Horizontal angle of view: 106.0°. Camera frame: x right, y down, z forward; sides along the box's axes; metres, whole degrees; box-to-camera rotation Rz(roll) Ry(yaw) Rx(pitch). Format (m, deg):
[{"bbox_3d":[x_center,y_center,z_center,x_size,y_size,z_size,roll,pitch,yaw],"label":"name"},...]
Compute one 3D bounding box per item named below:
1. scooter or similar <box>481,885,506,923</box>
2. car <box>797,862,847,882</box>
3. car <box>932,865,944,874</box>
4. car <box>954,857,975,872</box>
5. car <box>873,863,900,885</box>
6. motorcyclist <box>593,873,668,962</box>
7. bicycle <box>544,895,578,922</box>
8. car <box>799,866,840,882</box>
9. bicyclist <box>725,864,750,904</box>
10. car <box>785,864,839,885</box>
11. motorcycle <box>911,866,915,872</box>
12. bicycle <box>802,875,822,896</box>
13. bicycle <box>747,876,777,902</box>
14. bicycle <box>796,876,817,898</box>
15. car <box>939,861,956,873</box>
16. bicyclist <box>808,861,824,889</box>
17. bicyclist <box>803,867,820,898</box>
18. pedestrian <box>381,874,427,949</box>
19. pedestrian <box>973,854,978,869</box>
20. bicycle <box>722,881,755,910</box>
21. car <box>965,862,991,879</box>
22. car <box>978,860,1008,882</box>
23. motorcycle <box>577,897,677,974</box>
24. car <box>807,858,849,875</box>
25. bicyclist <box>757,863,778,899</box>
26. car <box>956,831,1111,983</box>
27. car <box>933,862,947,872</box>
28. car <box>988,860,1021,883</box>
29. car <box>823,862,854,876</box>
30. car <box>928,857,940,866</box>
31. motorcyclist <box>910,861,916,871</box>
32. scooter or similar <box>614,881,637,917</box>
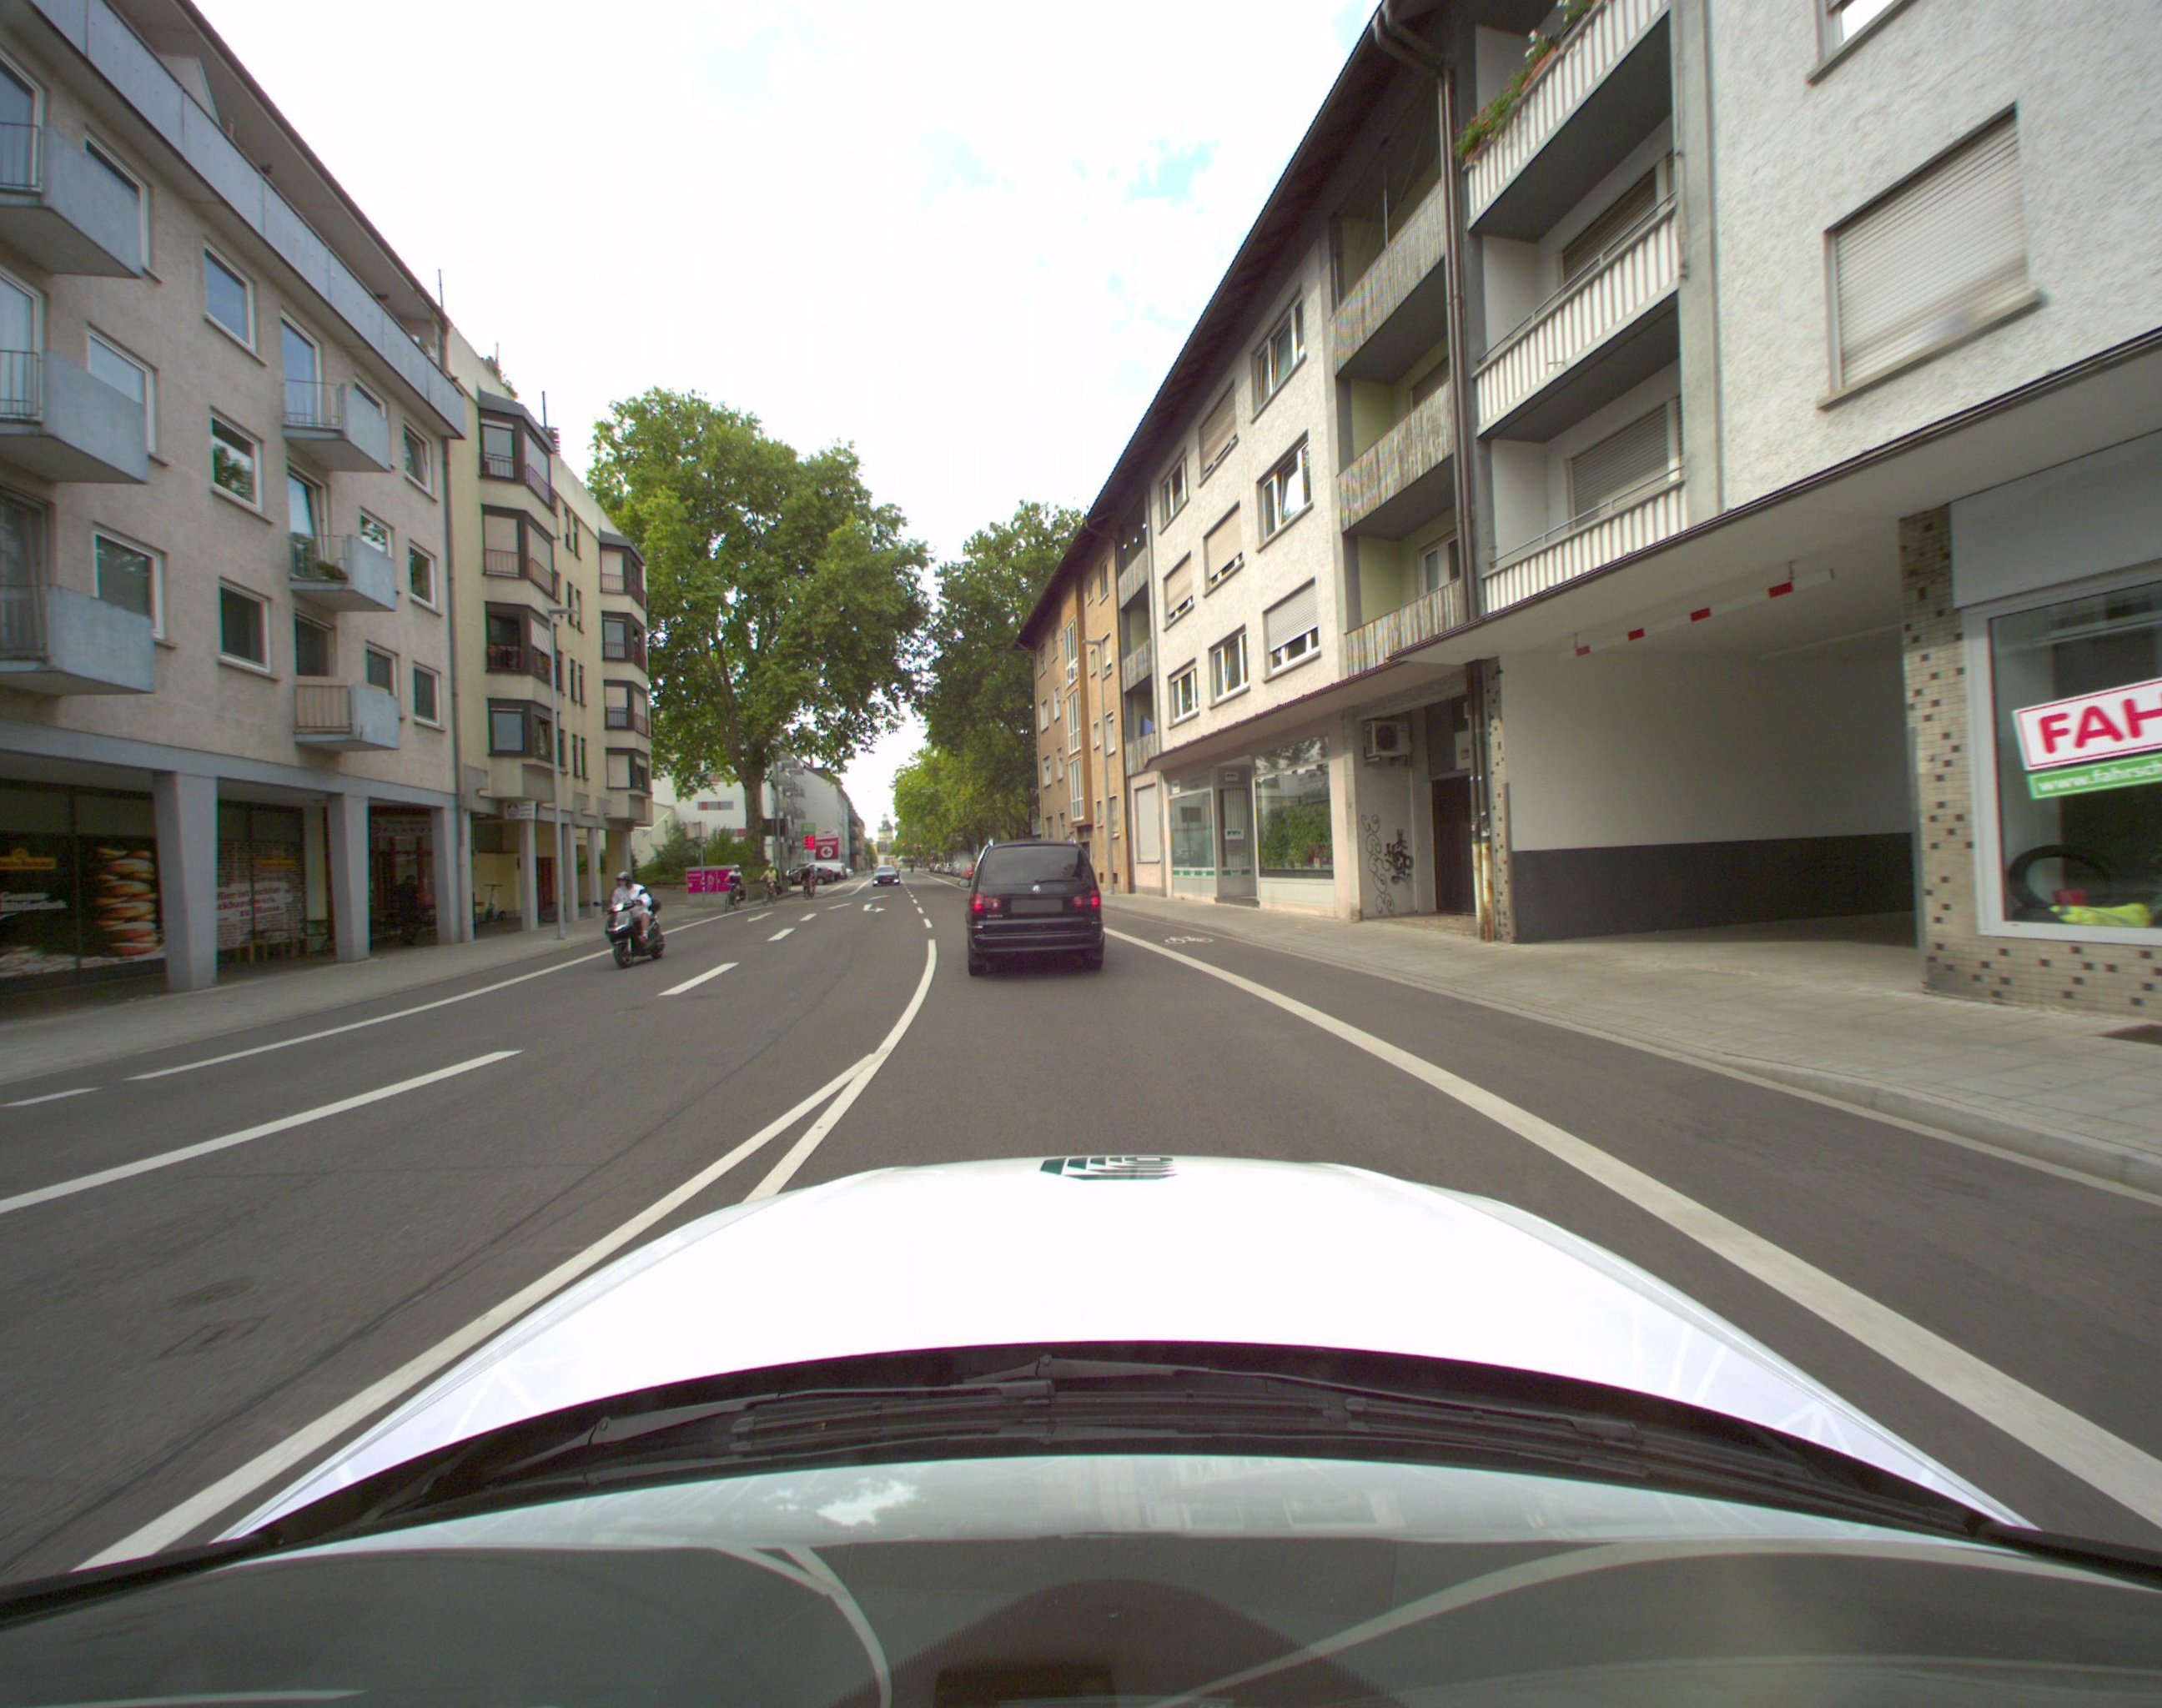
[{"bbox_3d":[-20.002,1.692,27.736,0.287,1.201,1.170,-3,2,-17],"label":"scooter or similar"},{"bbox_3d":[-25.848,1.761,81.406,4.531,1.878,2.038,0,-1,-13],"label":"car"},{"bbox_3d":[-23.287,2.530,132.807,1.678,1.394,3.860,-2,0,-14],"label":"car"},{"bbox_3d":[-12.210,1.119,85.116,1.632,1.470,4.296,-2,0,-14],"label":"car"},{"bbox_3d":[-14.124,1.425,59.209,1.813,1.408,4.587,-3,0,-13],"label":"car"},{"bbox_3d":[-7.954,1.097,14.419,0.795,1.460,0.863,-4,0,-7],"label":"motorcyclist"},{"bbox_3d":[-17.872,1.875,28.036,0.430,0.821,1.611,-3,0,-13],"label":"bicycle"},{"bbox_3d":[-25.179,1.912,78.569,3.687,1.444,1.745,0,0,-14],"label":"car"},{"bbox_3d":[-13.646,1.197,32.356,0.657,1.525,0.999,-1,1,-9],"label":"bicyclist"},{"bbox_3d":[-23.145,1.734,70.237,4.261,1.605,1.960,-1,1,-13],"label":"car"},{"bbox_3d":[-28.147,2.480,136.590,0.626,0.930,2.392,-2,0,-13],"label":"motorcycle"},{"bbox_3d":[-14.969,1.733,45.341,0.737,1.007,2.188,-1,1,-10],"label":"bicycle"},{"bbox_3d":[-14.203,1.548,36.331,0.737,1.007,2.245,-1,1,-9],"label":"bicycle"},{"bbox_3d":[-13.982,1.664,41.526,0.737,1.007,1.969,-1,1,-10],"label":"bicycle"},{"bbox_3d":[-16.936,1.645,103.375,1.678,1.394,4.439,-2,0,-14],"label":"car"},{"bbox_3d":[-14.890,1.181,45.778,0.657,1.525,1.073,-1,1,-9],"label":"bicyclist"},{"bbox_3d":[-13.826,1.452,41.809,0.657,1.525,0.854,-1,1,-9],"label":"bicyclist"},{"bbox_3d":[-16.622,1.391,20.012,0.582,1.757,0.780,-1,-1,-13],"label":"pedestrian"},{"bbox_3d":[-13.620,0.941,105.011,0.643,1.975,0.689,-1,1,-12],"label":"pedestrian"},{"bbox_3d":[-13.622,1.640,32.413,0.737,1.007,1.903,-1,1,-9],"label":"bicycle"},{"bbox_3d":[-8.849,1.415,69.964,1.678,1.394,4.439,-2,0,-14],"label":"car"},{"bbox_3d":[-6.500,1.217,59.669,1.660,1.422,3.928,-3,0,-14],"label":"car"},{"bbox_3d":[-7.921,1.383,14.322,0.721,1.094,2.031,-5,0,-6],"label":"motorcycle"},{"bbox_3d":[-28.020,1.399,90.223,4.314,1.870,1.815,0,-1,-15],"label":"car"},{"bbox_3d":[-14.025,1.200,36.453,0.657,1.525,0.838,-1,1,-9],"label":"bicyclist"},{"bbox_3d":[-0.674,0.607,11.605,1.809,1.766,3.733,-1,1,-4],"label":"car"},{"bbox_3d":[-20.435,1.885,118.014,1.645,1.413,3.396,-2,0,-17],"label":"car"},{"bbox_3d":[-5.233,1.171,55.525,1.660,1.422,3.848,-3,1,-14],"label":"car"},{"bbox_3d":[-27.591,1.731,92.796,3.349,1.497,1.588,-1,-1,-15],"label":"car"},{"bbox_3d":[-24.986,1.271,138.150,1.678,1.394,3.860,-2,0,-14],"label":"car"},{"bbox_3d":[-28.214,1.981,136.586,0.954,1.660,1.249,-2,0,-14],"label":"motorcyclist"},{"bbox_3d":[-16.707,1.647,29.891,1.161,1.265,0.289,-3,0,40],"label":"scooter or similar"}]
